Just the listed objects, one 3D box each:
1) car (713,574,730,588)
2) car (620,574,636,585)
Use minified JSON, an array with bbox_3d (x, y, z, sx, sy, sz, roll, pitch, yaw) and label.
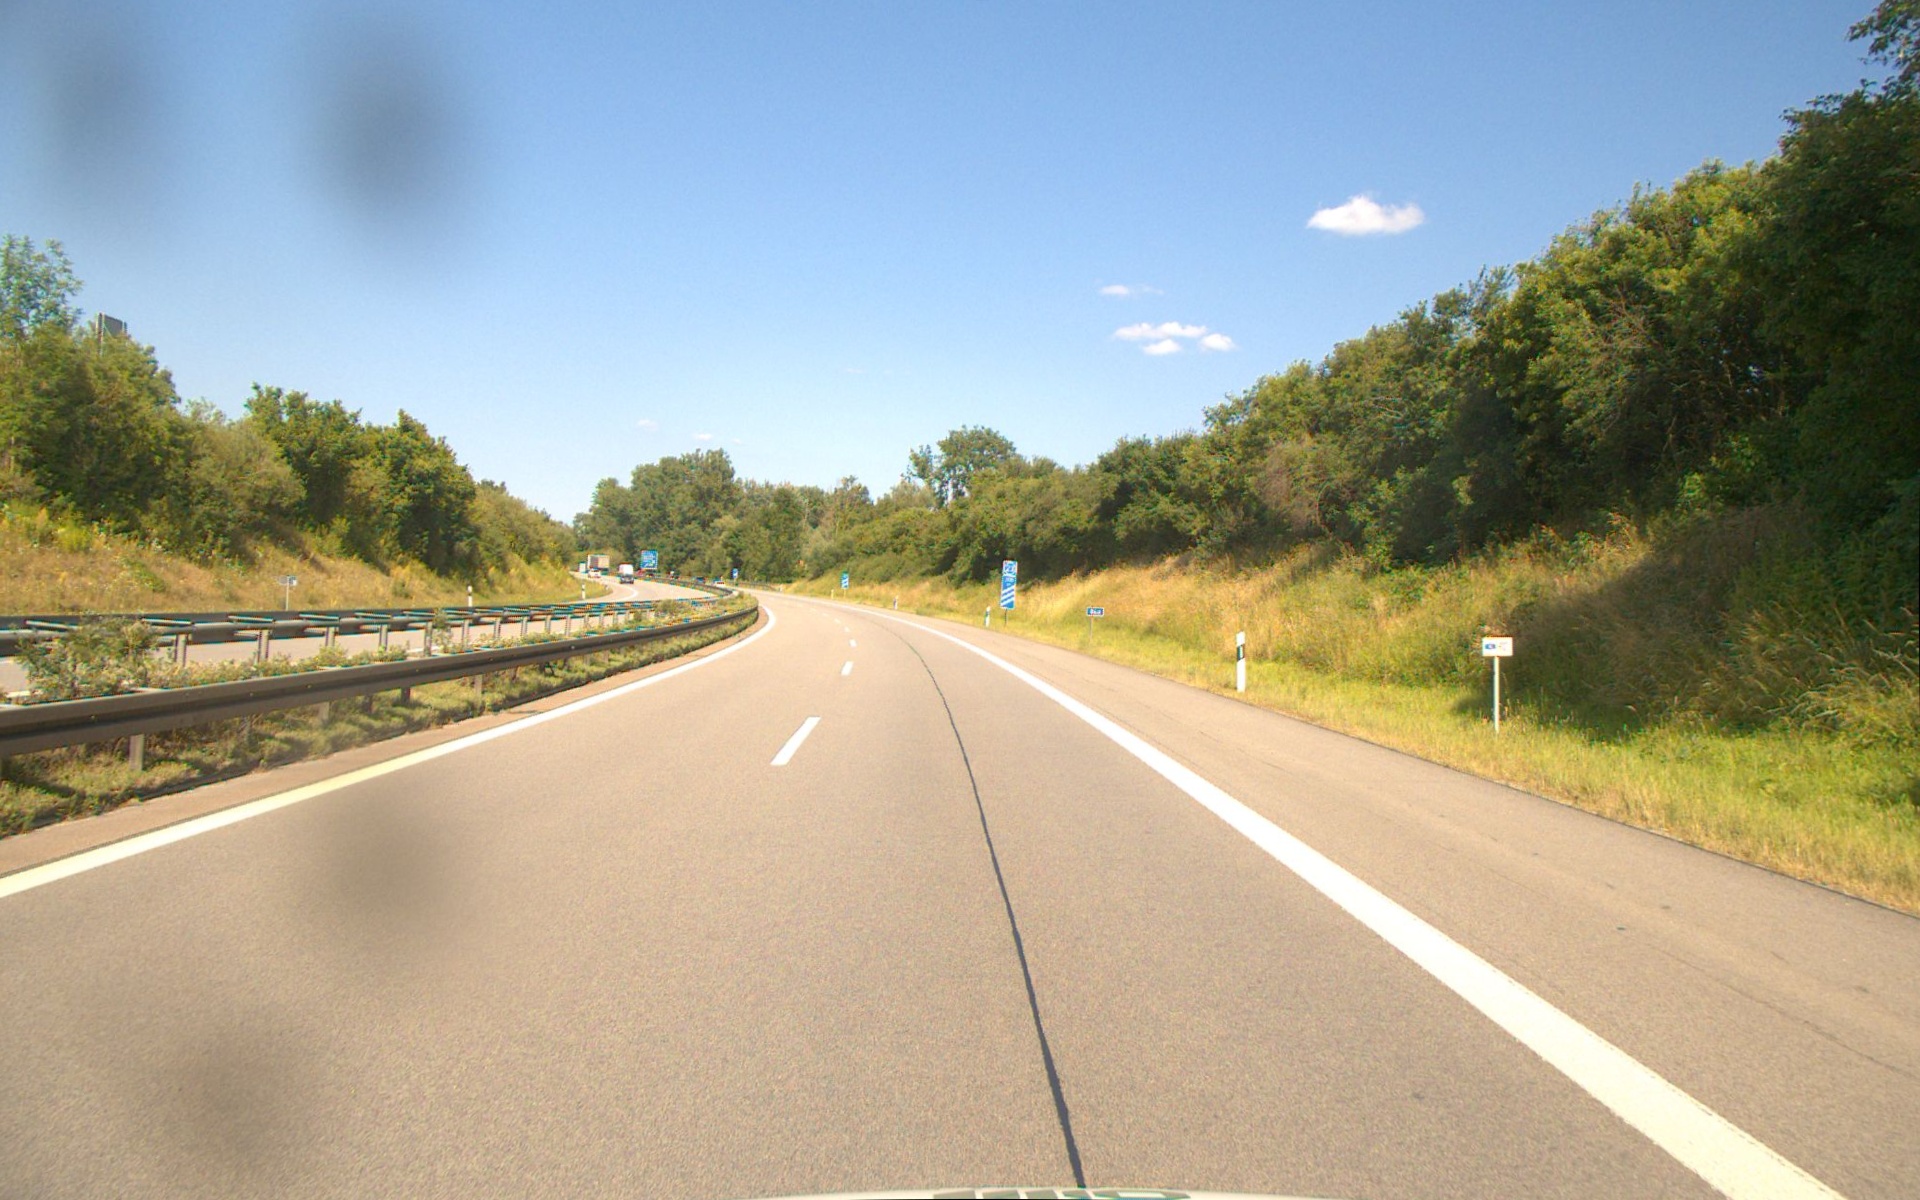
[{"bbox_3d":[-31.416,-2.479,217.913,2.024,1.653,3.991,2,-1,-9],"label":"car"},{"bbox_3d":[-47.504,-2.883,236.846,1.930,1.591,5.165,0,0,-8],"label":"car"}]
